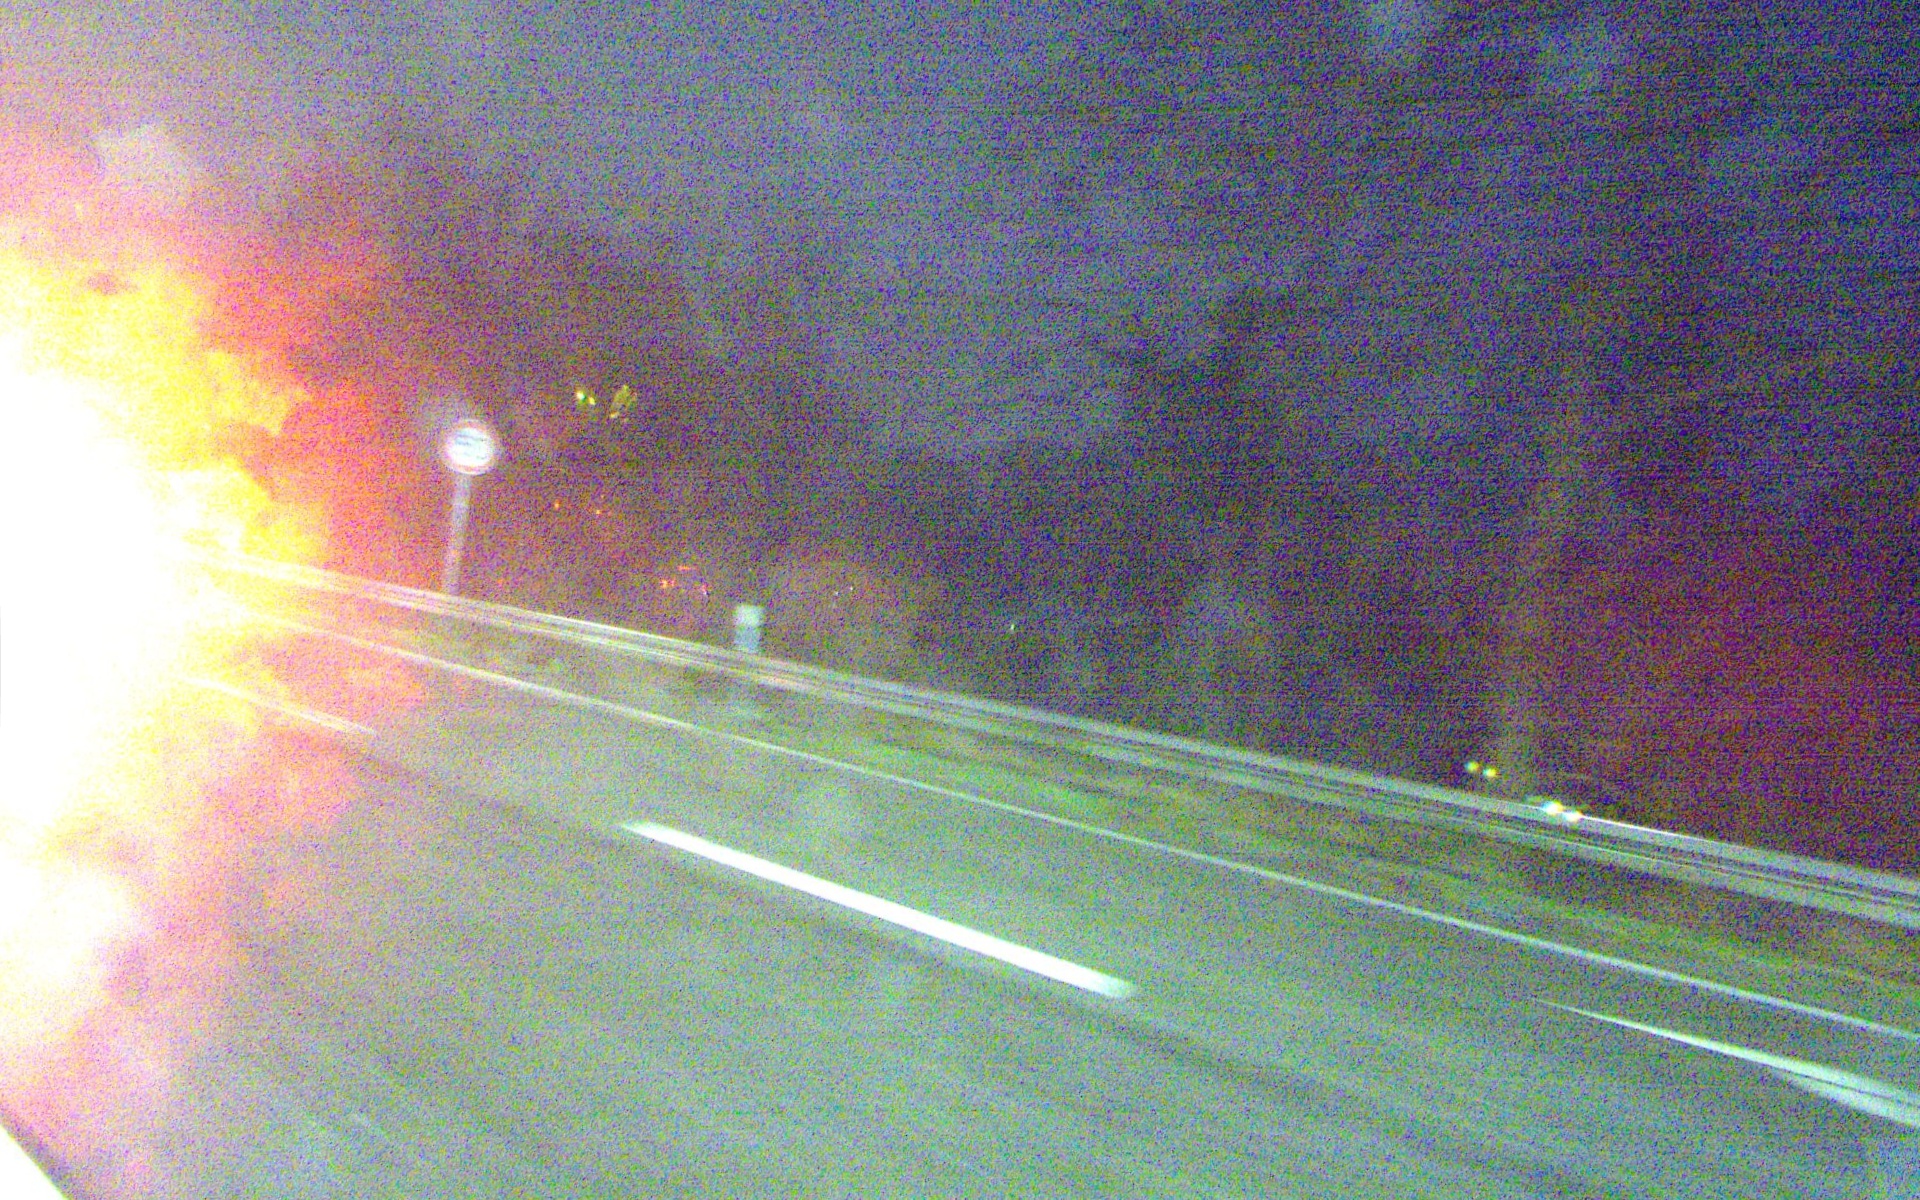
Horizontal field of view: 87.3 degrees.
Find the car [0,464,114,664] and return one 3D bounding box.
[{"bbox_3d":[-9.421,-0.524,8.784,3.711,1.583,1.744,8,-1,28],"label":"car"}]
